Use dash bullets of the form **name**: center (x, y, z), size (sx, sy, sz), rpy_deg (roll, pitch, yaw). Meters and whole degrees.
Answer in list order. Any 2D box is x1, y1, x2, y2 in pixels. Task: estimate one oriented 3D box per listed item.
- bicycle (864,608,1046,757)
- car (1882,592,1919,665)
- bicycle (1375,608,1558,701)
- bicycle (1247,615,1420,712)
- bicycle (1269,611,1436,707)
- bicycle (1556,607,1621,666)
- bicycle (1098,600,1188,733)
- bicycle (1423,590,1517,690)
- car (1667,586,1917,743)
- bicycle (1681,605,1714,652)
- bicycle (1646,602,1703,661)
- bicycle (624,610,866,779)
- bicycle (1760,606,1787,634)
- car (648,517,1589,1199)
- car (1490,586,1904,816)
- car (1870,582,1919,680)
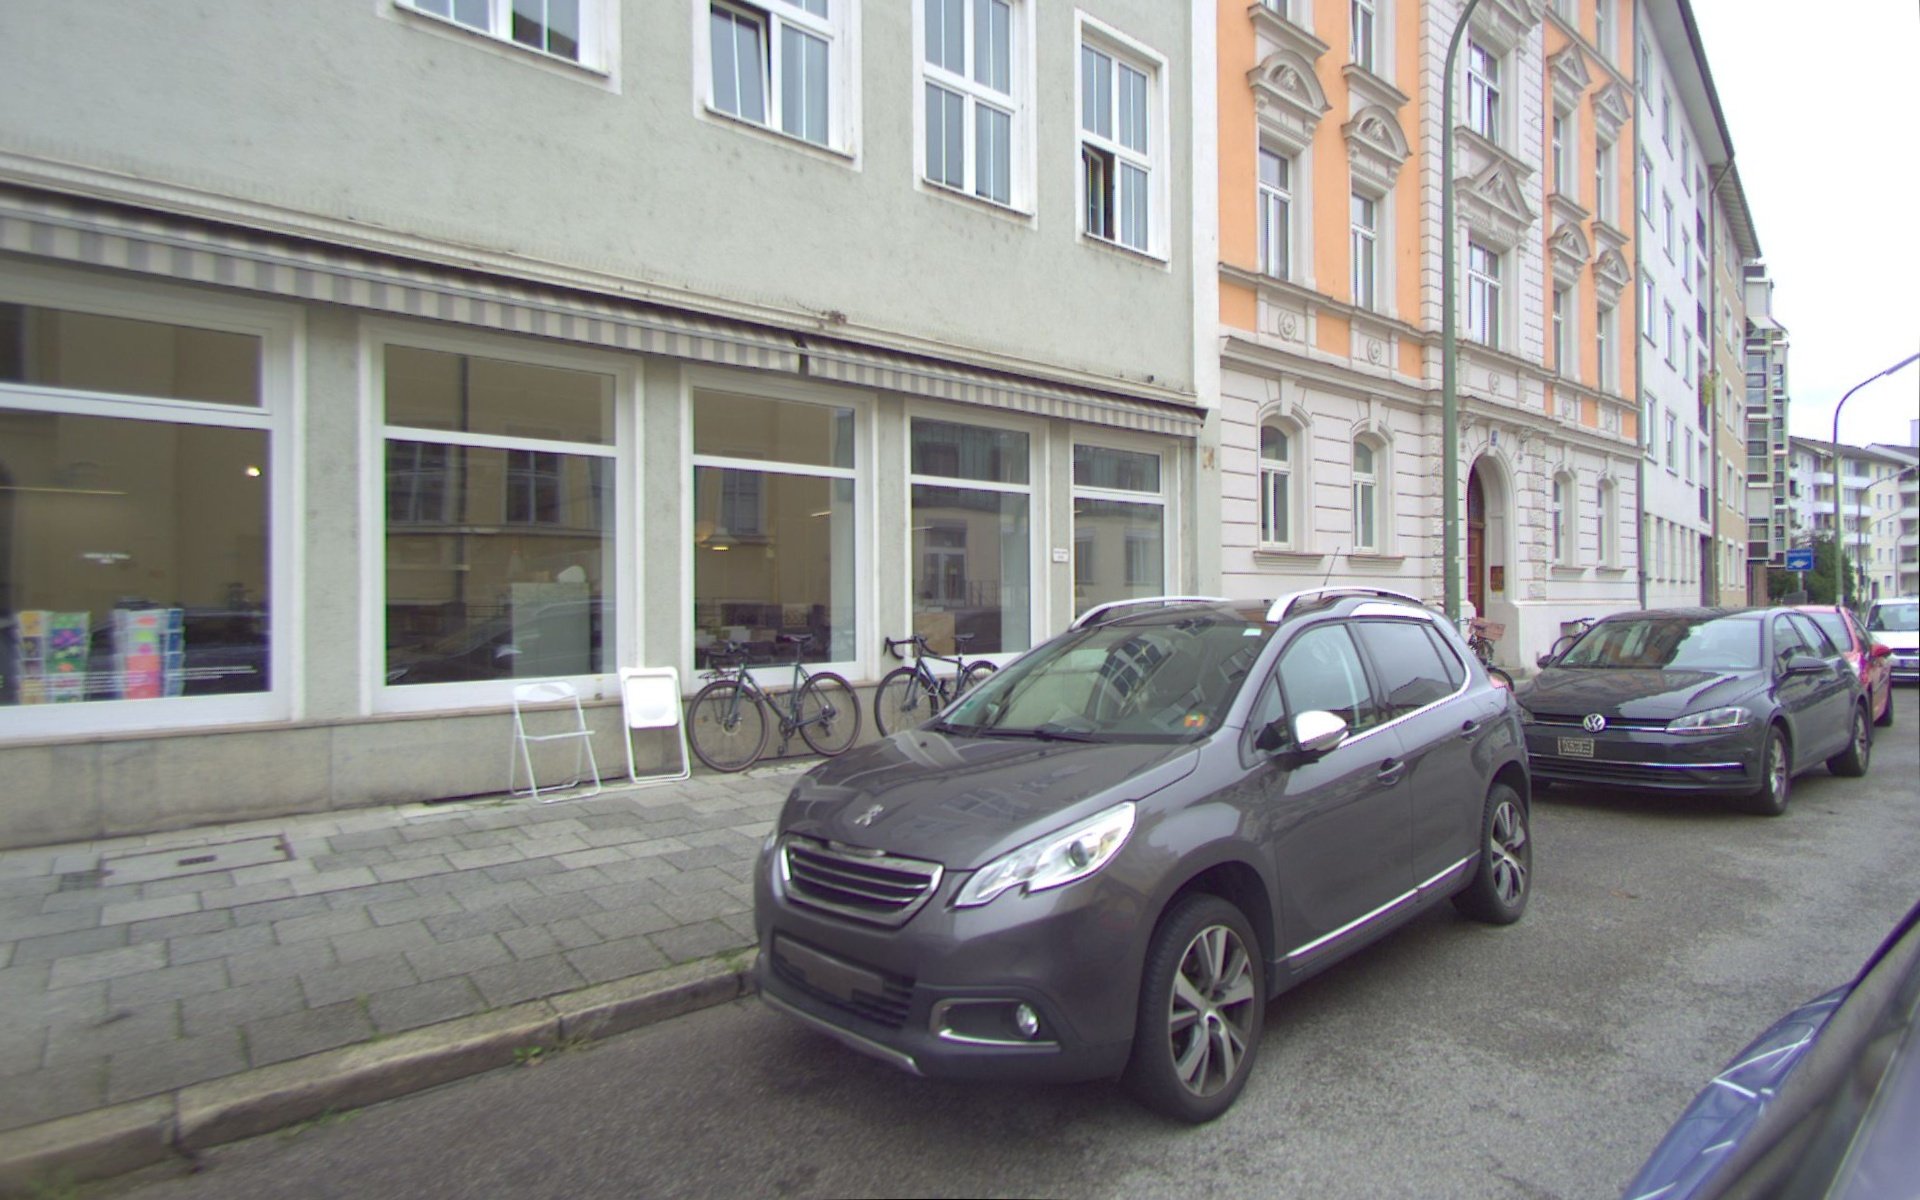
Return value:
- **bicycle**: center (-0.007, 0.690, 9.068), size (1.783, 1.191, 0.396), rpy_deg (-1, -1, -41)
- **car**: center (21.735, 0.572, 22.135), size (4.468, 1.513, 1.745), rpy_deg (-1, -1, -40)
- **bicycle**: center (6.604, 0.695, 13.275), size (2.056, 1.153, 0.583), rpy_deg (0, 0, 7)
- **bicycle**: center (4.316, 0.718, 11.780), size (1.817, 1.081, 0.514), rpy_deg (0, 0, 9)
- **bicycle**: center (4.721, 0.696, 12.210), size (1.778, 1.103, 0.622), rpy_deg (0, 0, -5)
- **bicycle**: center (11.737, 0.658, 18.875), size (1.787, 1.037, 0.596), rpy_deg (0, 0, -44)
- **bicycle**: center (1.873, 0.640, 10.273), size (0.248, 1.271, 1.214), rpy_deg (0, 0, 45)
- **bicycle**: center (7.624, 0.552, 15.082), size (2.057, 1.402, 0.596), rpy_deg (0, 0, -44)
- **car**: center (9.807, 0.651, 11.821), size (4.077, 1.519, 1.688), rpy_deg (0, -2, -43)
- **bicycle**: center (18.019, 0.679, 24.713), size (0.528, 1.085, 1.972), rpy_deg (-1, 0, 39)
- **bicycle**: center (14.518, 0.613, 20.546), size (0.722, 1.126, 1.965), rpy_deg (-1, 0, 42)
- **bicycle**: center (-1.636, 0.680, 7.967), size (1.915, 1.172, 0.385), rpy_deg (0, 0, -41)
- **bicycle**: center (31.543, 0.773, 39.237), size (0.676, 1.046, 1.725), rpy_deg (0, 0, 44)
- **car**: center (1.063, 0.638, 4.352), size (4.288, 1.613, 1.707), rpy_deg (0, -2, -43)
- **car**: center (6.232, 0.626, 8.372), size (4.285, 1.420, 1.691), rpy_deg (-1, -1, -39)
- **car**: center (17.909, 0.512, 18.608), size (1.679, 1.695, 3.746), rpy_deg (-3, -2, 42)
